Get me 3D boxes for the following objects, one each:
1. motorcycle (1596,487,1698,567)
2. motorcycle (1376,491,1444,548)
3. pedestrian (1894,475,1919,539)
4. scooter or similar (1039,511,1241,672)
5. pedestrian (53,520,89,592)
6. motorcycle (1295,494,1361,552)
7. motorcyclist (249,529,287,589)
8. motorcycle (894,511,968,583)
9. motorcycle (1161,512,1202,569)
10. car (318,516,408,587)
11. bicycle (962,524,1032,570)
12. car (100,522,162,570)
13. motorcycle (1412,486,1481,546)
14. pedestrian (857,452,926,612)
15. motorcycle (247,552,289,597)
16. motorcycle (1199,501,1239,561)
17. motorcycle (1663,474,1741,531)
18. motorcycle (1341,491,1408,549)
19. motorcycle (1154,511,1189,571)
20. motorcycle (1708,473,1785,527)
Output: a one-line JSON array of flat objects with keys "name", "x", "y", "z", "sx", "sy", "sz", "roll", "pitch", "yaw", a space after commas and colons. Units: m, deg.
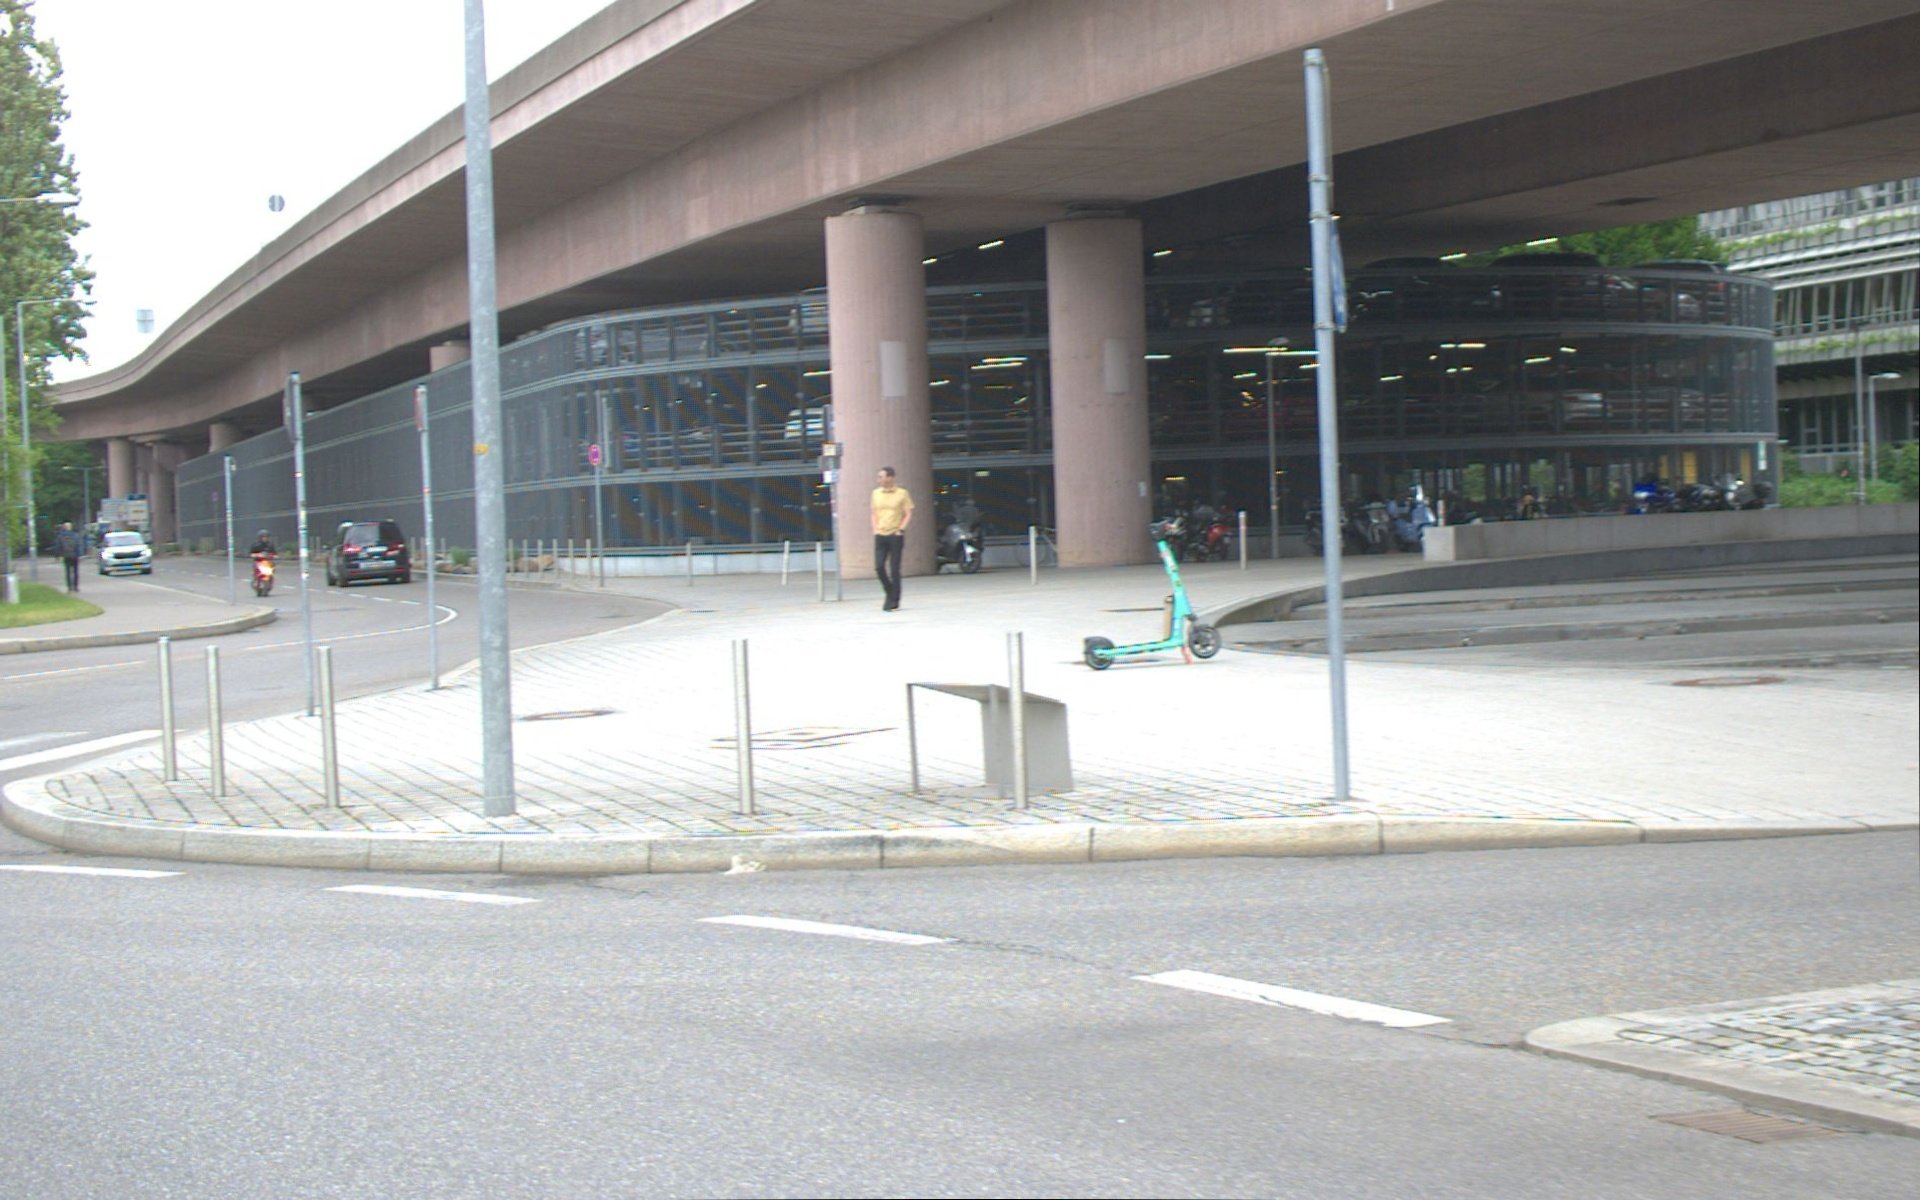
[{"name": "motorcycle", "x": 11.693, "y": -1.246, "z": 58.496, "sx": 1.935, "sy": 1.260, "sz": 0.548, "roll": -4, "pitch": 3, "yaw": -38}, {"name": "motorcycle", "x": 9.906, "y": -1.783, "z": 75.818, "sx": 0.672, "sy": 1.215, "sz": 2.079, "roll": -3, "pitch": 3, "yaw": -16}, {"name": "pedestrian", "x": 30.041, "y": -2.936, "z": 109.088, "sx": 0.527, "sy": 2.007, "sz": 0.574, "roll": -2, "pitch": 1, "yaw": -9}, {"name": "scooter or similar", "x": 1.532, "y": -0.078, "z": 29.386, "sx": 1.644, "sy": 1.291, "sz": 0.518, "roll": -2, "pitch": 3, "yaw": -2}, {"name": "pedestrian", "x": -22.614, "y": -1.131, "z": 87.441, "sx": 0.803, "sy": 1.774, "sz": 0.920, "roll": -3, "pitch": 3, "yaw": -14}, {"name": "motorcycle", "x": 8.074, "y": -1.704, "z": 75.464, "sx": 0.672, "sy": 1.215, "sz": 2.079, "roll": -3, "pitch": 3, "yaw": -16}, {"name": "motorcyclist", "x": -17.033, "y": -1.017, "z": 84.581, "sx": 0.761, "sy": 1.414, "sz": 0.870, "roll": -3, "pitch": 3, "yaw": -17}, {"name": "motorcycle", "x": -0.604, "y": -1.104, "z": 71.047, "sx": 0.642, "sy": 1.450, "sz": 1.762, "roll": -4, "pitch": 3, "yaw": -33}, {"name": "motorcycle", "x": 4.586, "y": -1.222, "z": 71.191, "sx": 0.521, "sy": 1.167, "sz": 1.149, "roll": -1, "pitch": 0, "yaw": 19}, {"name": "car", "x": -15.768, "y": -1.300, "z": 90.642, "sx": 1.839, "sy": 1.705, "sz": 3.707, "roll": -3, "pitch": 3, "yaw": -17}, {"name": "bicycle", "x": 0.834, "y": -1.184, "z": 76.896, "sx": 1.472, "sy": 0.973, "sz": 0.451, "roll": -2, "pitch": 3, "yaw": 9}, {"name": "car", "x": -32.093, "y": -2.098, "z": 133.049, "sx": 1.864, "sy": 1.677, "sz": 4.407, "roll": -3, "pitch": 3, "yaw": -19}, {"name": "motorcycle", "x": 10.766, "y": -1.865, "z": 76.100, "sx": 0.672, "sy": 1.281, "sz": 2.079, "roll": -3, "pitch": 3, "yaw": -16}, {"name": "pedestrian", "x": -0.891, "y": -0.889, "z": 44.248, "sx": 0.782, "sy": 2.006, "sz": 1.040, "roll": -2, "pitch": 3, "yaw": -3}, {"name": "motorcycle", "x": -17.042, "y": -0.630, "z": 84.632, "sx": 0.746, "sy": 1.019, "sz": 1.957, "roll": -3, "pitch": 3, "yaw": -18}, {"name": "motorcycle", "x": 5.628, "y": -1.508, "z": 74.634, "sx": 0.830, "sy": 1.215, "sz": 2.079, "roll": -2, "pitch": 3, "yaw": 5}, {"name": "motorcycle", "x": 17.092, "y": -2.256, "z": 79.214, "sx": 0.672, "sy": 1.271, "sz": 2.364, "roll": -3, "pitch": 3, "yaw": -16}, {"name": "motorcycle", "x": 9.098, "y": -1.775, "z": 75.567, "sx": 0.672, "sy": 1.215, "sz": 2.079, "roll": -3, "pitch": 3, "yaw": -16}, {"name": "motorcycle", "x": 4.528, "y": -1.269, "z": 73.721, "sx": 0.520, "sy": 1.215, "sz": 1.150, "roll": -2, "pitch": 3, "yaw": 13}, {"name": "motorcycle", "x": 18.307, "y": -2.344, "z": 80.072, "sx": 0.672, "sy": 1.215, "sz": 2.364, "roll": -3, "pitch": 3, "yaw": -16}]
